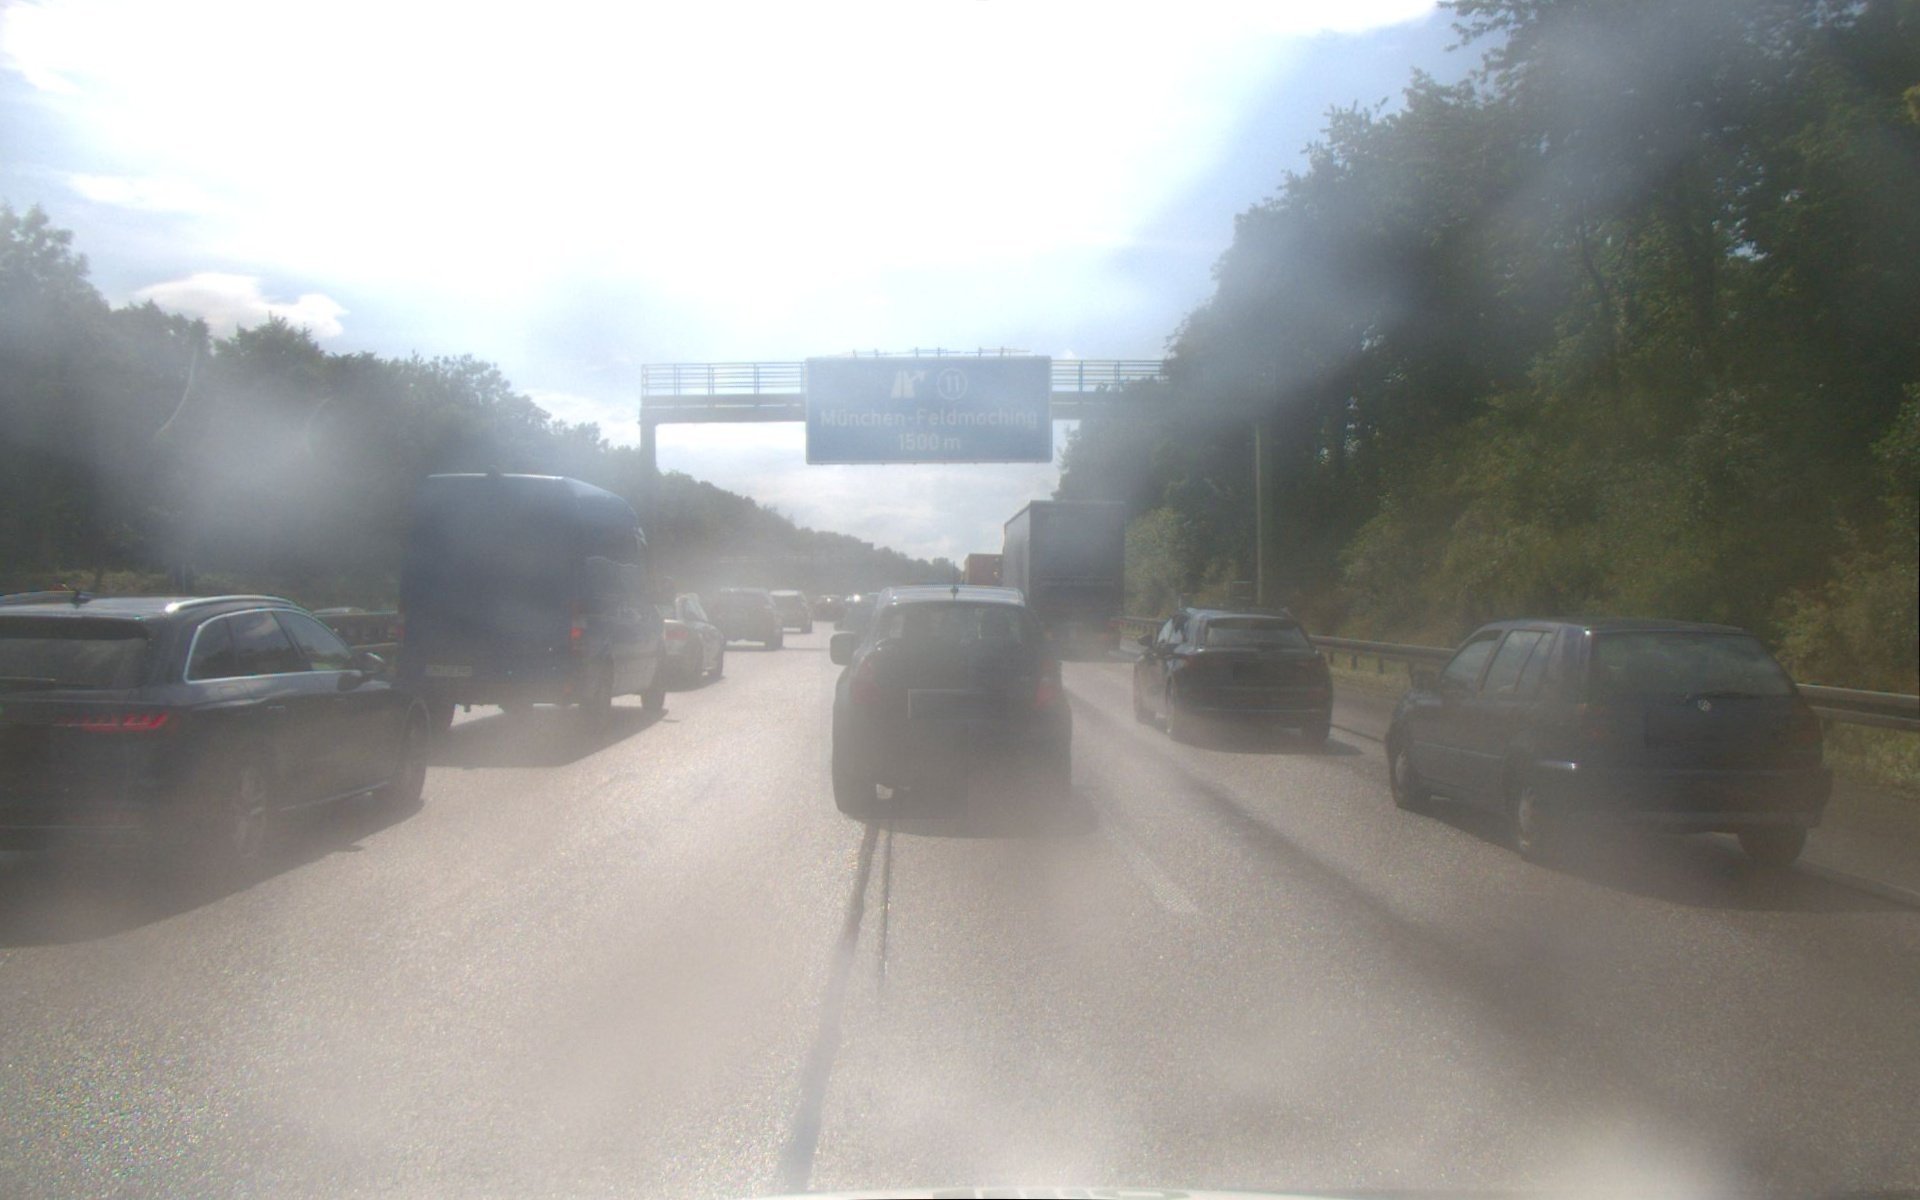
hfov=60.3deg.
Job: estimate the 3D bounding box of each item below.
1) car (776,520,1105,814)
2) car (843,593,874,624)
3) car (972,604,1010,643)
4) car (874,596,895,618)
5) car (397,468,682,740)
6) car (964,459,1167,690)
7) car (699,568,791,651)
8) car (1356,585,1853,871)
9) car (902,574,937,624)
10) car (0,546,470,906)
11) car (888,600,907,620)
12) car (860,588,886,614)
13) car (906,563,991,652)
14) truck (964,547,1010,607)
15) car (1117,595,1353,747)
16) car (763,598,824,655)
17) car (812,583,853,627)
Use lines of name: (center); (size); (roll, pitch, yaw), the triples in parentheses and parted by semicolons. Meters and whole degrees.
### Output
car: (-0.243, 0.475, 13.777); (2.229, 1.989, 4.818); (1, 0, -3)
car: (-7.246, 0.588, 118.206); (1.953, 2.152, 4.887); (1, 0, -1)
car: (1.706, 1.314, 93.536); (1.953, 2.152, 4.887); (1, 0, -1)
car: (-7.588, 0.697, 166.103); (1.953, 2.152, 4.887); (1, 0, -1)
car: (-4.605, 0.054, 19.000); (1.953, 2.661, 5.258); (1, 0, -1)
car: (2.777, -0.617, 51.455); (4.316, 5.932, 16.807); (1, 0, -3)
car: (-5.883, 0.254, 45.865); (1.953, 2.152, 4.887); (1, 0, -1)
car: (4.004, 0.714, 11.015); (1.559, 1.542, 3.973); (1, 0, -4)
car: (-2.338, -0.033, 96.585); (1.953, 2.794, 5.258); (1, 0, -1)
car: (-4.557, 0.564, 9.744); (1.953, 1.592, 4.755); (1, 0, -1)
car: (-7.048, 1.117, 186.839); (1.953, 2.152, 4.887); (1, 0, -1)
car: (-7.500, 0.125, 142.917); (1.953, 2.152, 4.887); (1, 0, -1)
car: (-0.311, 0.163, 36.599); (1.659, 1.836, 3.973); (1, 0, -3)
truck: (1.710, -1.428, 107.342); (2.719, 3.695, 5.915); (1, 0, -1)
car: (3.027, 0.740, 19.039); (1.828, 1.542, 3.973); (1, 0, -4)
car: (-6.518, 1.015, 65.292); (1.953, 2.152, 4.887); (1, 0, -1)
car: (-7.322, 0.298, 95.411); (1.953, 2.427, 5.258); (1, 0, -1)
